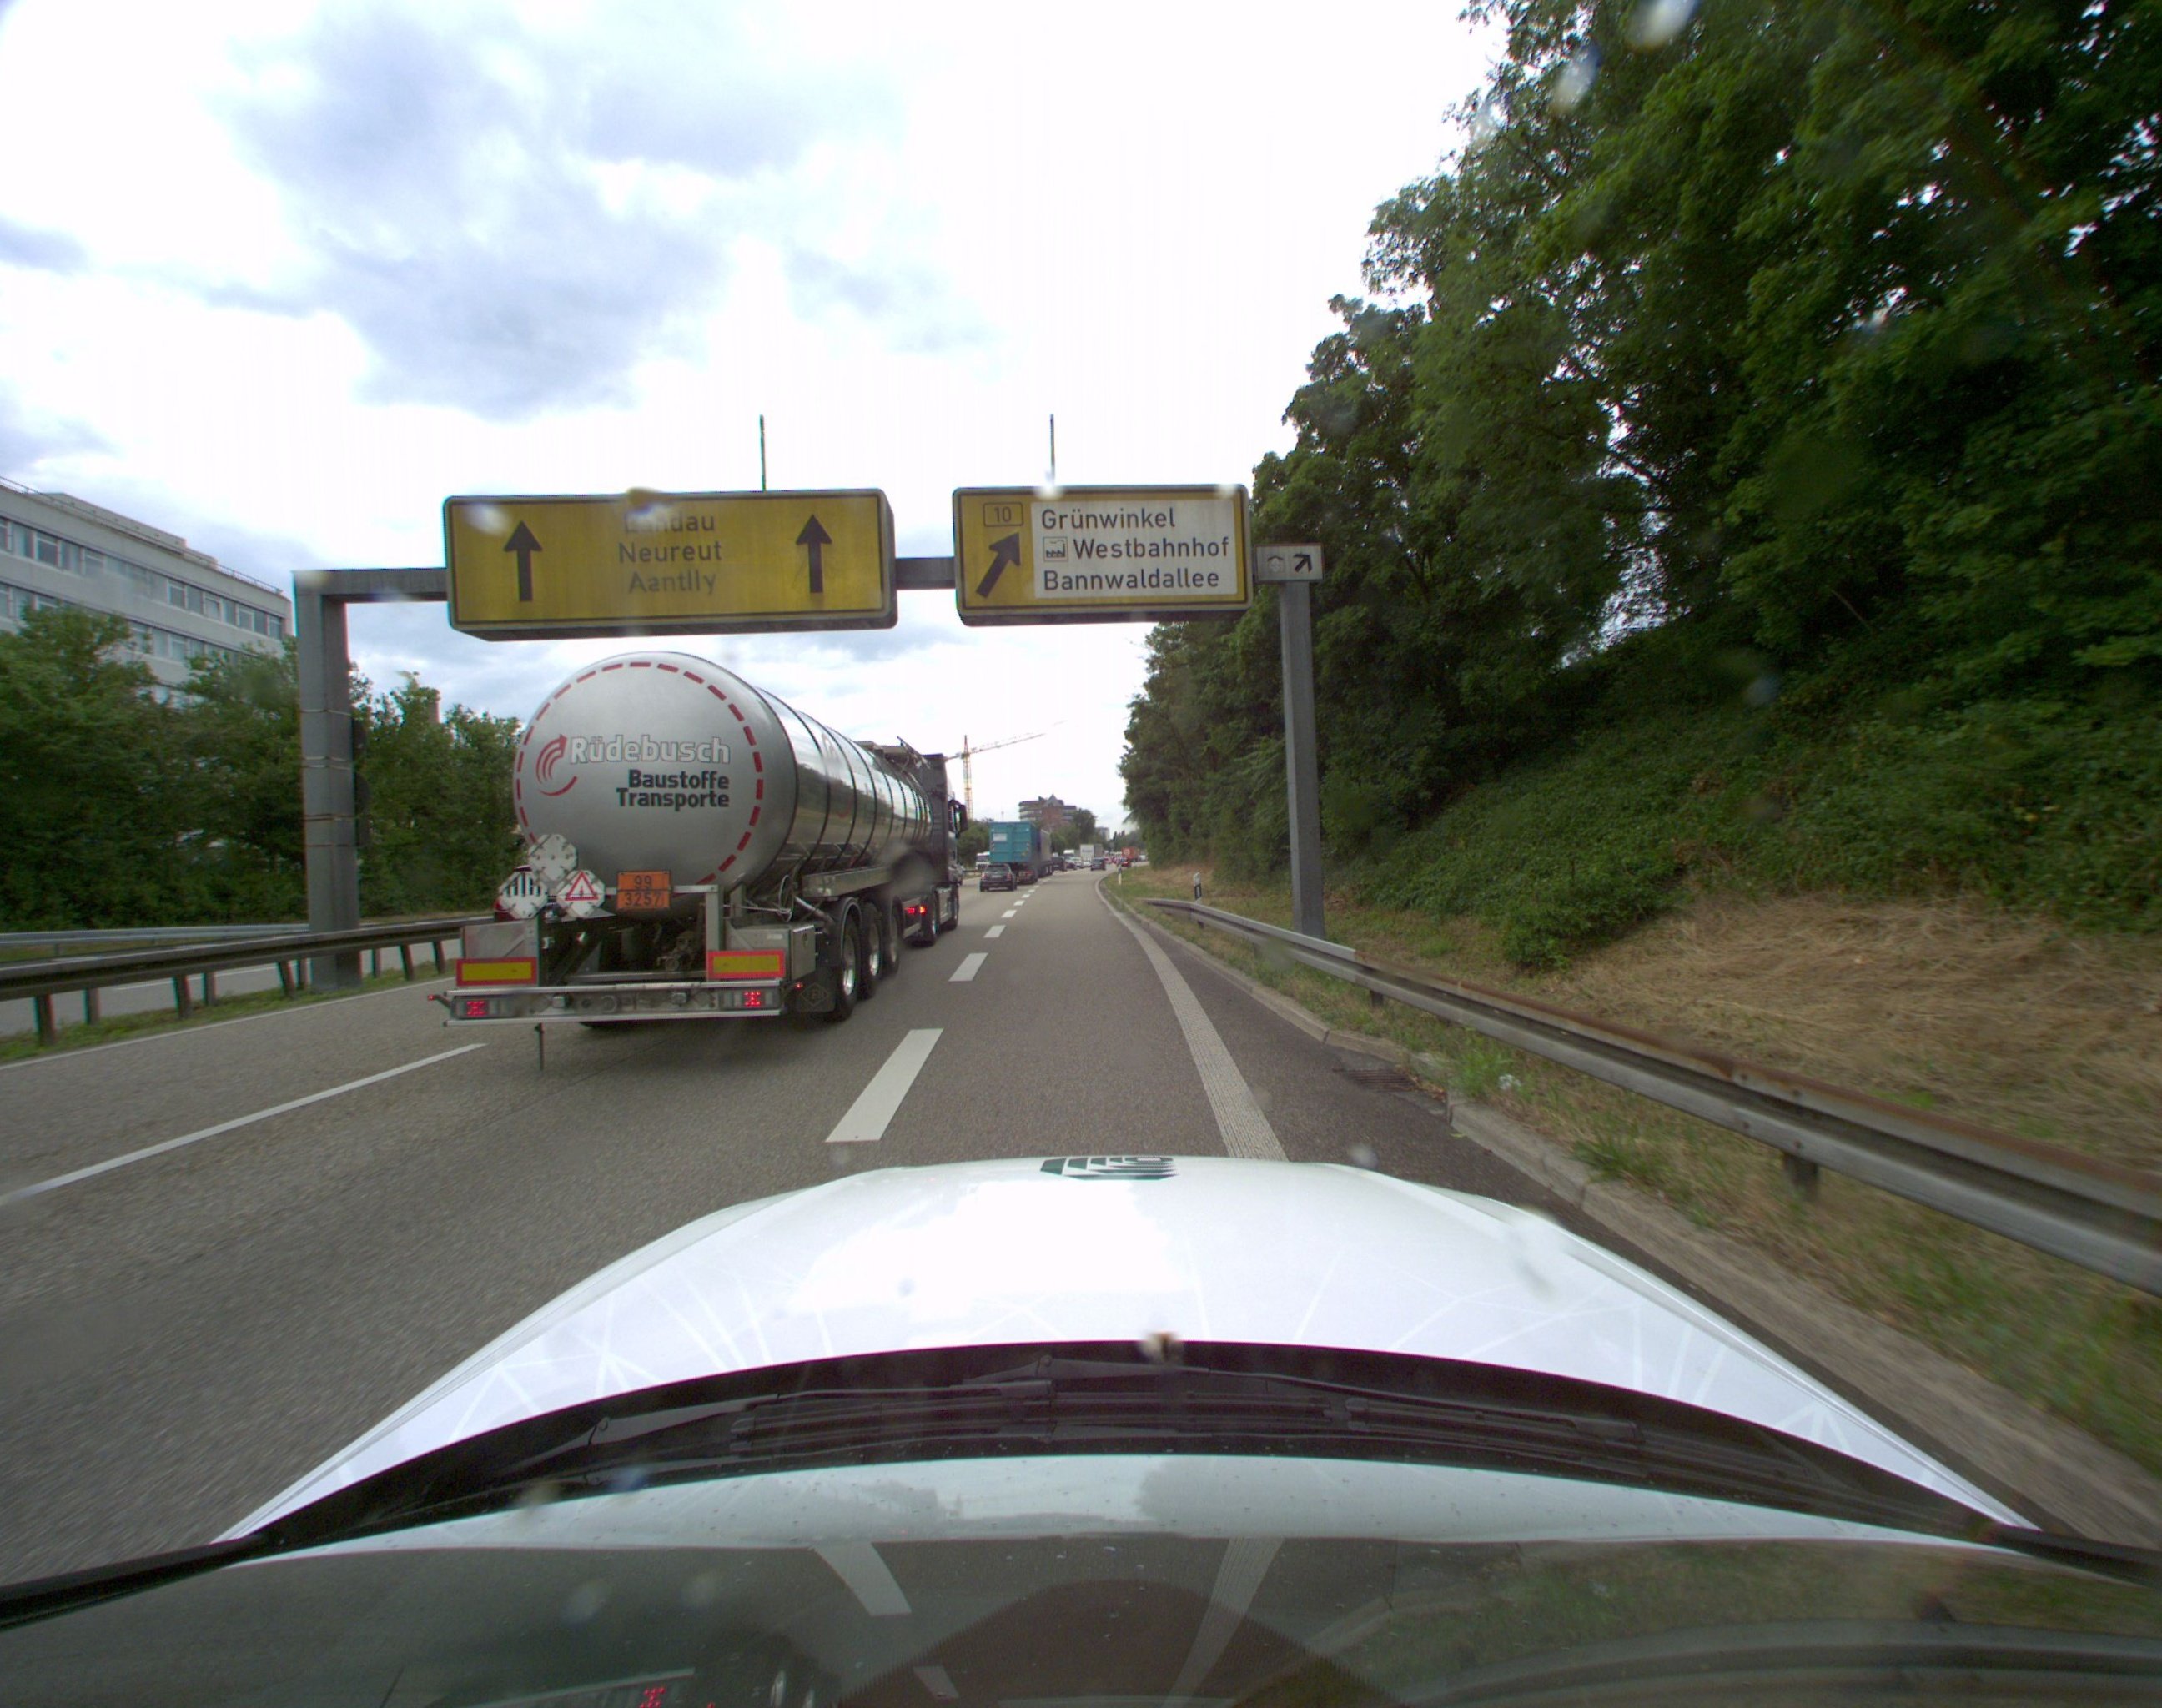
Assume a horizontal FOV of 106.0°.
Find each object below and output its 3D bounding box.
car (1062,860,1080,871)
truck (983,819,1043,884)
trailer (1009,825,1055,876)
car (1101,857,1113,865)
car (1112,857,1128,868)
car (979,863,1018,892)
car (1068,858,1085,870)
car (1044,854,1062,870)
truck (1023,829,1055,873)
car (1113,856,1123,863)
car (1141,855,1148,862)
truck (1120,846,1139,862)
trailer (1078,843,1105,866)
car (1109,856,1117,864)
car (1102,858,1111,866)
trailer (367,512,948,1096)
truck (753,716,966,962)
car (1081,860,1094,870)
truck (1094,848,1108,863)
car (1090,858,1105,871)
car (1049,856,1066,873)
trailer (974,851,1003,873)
[{"bbox_3d":[-1.349,1.533,111.468,1.838,1.460,4.837,-2,0,5],"label":"car"},{"bbox_3d":[-4.401,-0.137,55.189,2.920,3.796,11.328,-3,0,0],"label":"truck"},{"bbox_3d":[-4.204,-0.199,72.345,2.616,4.023,13.471,-1,-1,2],"label":"trailer"},{"bbox_3d":[5.526,1.527,173.797,1.789,1.604,4.269,-3,0,9],"label":"car"},{"bbox_3d":[5.702,1.280,119.445,1.814,1.483,4.011,-2,0,10],"label":"car"},{"bbox_3d":[-4.294,1.197,42.777,1.743,1.422,3.661,-2,0,-2],"label":"car"},{"bbox_3d":[-0.597,1.480,124.341,1.946,1.695,4.874,-2,0,6],"label":"car"},{"bbox_3d":[-4.604,1.292,133.984,1.982,2.553,5.374,-2,0,8],"label":"car"},{"bbox_3d":[-3.946,-0.266,78.614,2.552,4.043,6.590,-1,-1,1],"label":"truck"},{"bbox_3d":[8.575,1.293,187.878,1.707,1.684,4.010,-1,-1,9],"label":"car"},{"bbox_3d":[18.987,1.334,243.205,1.603,2.013,4.014,-3,0,12],"label":"car"},{"bbox_3d":[13.100,0.006,217.212,3.469,4.073,13.627,-3,0,9],"label":"truck"},{"bbox_3d":[1.952,0.125,148.032,3.280,4.036,13.125,-1,-1,8],"label":"trailer"},{"bbox_3d":[8.540,1.589,216.476,1.807,2.013,4.009,-2,0,8],"label":"car"},{"bbox_3d":[5.476,1.672,176.817,1.523,1.552,3.425,-2,0,7],"label":"car"},{"bbox_3d":[-3.766,-0.349,11.056,2.678,3.907,10.970,-3,0,-4],"label":"trailer"},{"bbox_3d":[-4.105,-0.232,16.766,2.677,3.907,6.927,-3,0,-3],"label":"truck"},{"bbox_3d":[1.163,1.732,135.142,1.756,1.478,4.094,-4,0,5],"label":"car"},{"bbox_3d":[5.583,0.468,225.765,2.724,4.138,10.717,-1,-1,7],"label":"truck"},{"bbox_3d":[2.121,1.317,104.053,1.818,1.482,4.003,-3,0,3],"label":"car"},{"bbox_3d":[-2.835,1.285,99.295,1.982,1.898,4.981,-2,0,-2],"label":"car"},{"bbox_3d":[-15.436,1.341,136.532,2.459,3.396,12.476,-3,0,4],"label":"trailer"}]
